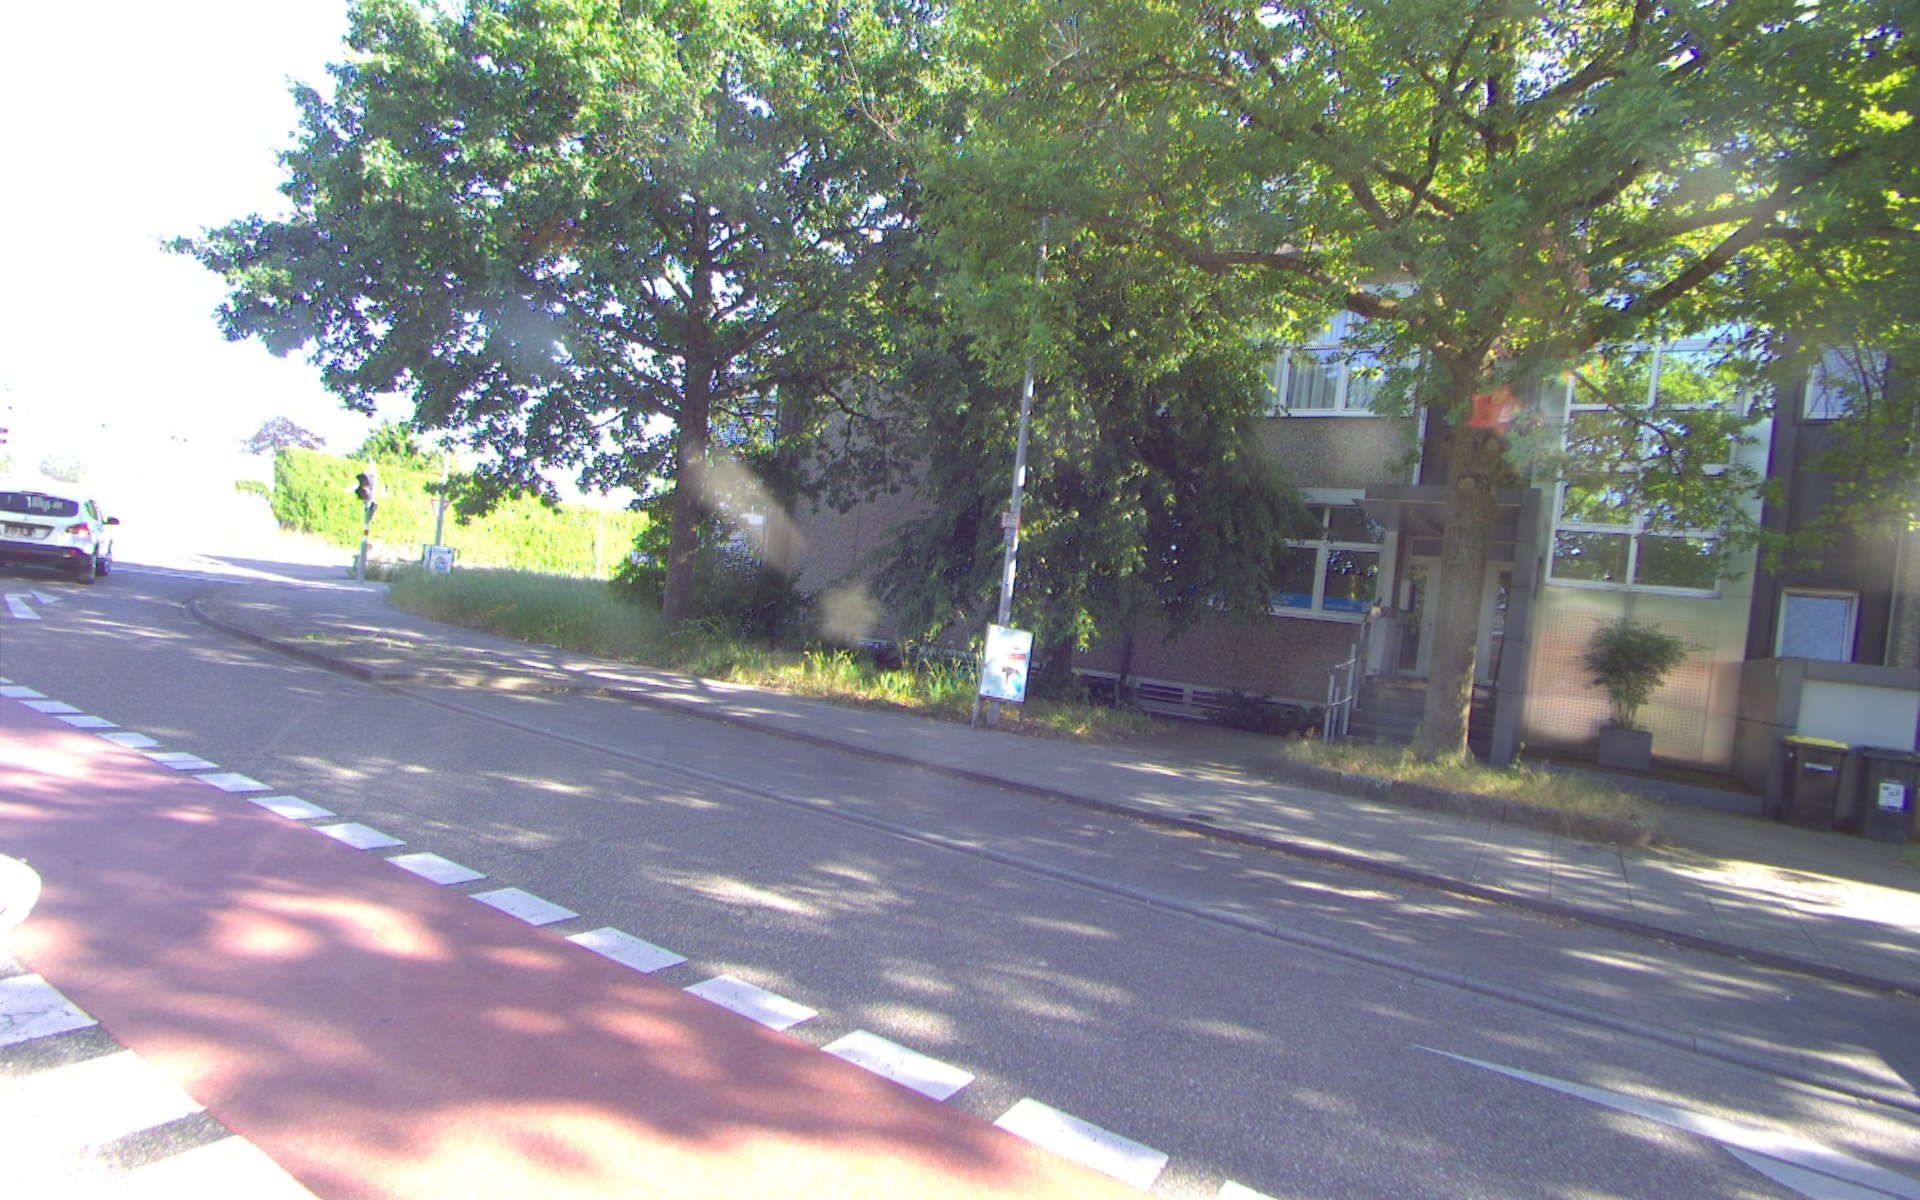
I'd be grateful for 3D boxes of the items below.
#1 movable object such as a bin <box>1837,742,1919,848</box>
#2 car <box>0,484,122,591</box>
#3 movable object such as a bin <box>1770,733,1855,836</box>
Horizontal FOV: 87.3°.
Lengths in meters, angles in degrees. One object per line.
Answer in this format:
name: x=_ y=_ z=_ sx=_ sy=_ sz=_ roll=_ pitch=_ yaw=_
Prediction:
movable object such as a bin: x=10.757 y=2.250 z=11.724 sx=0.605 sy=1.075 sz=0.634 roll=6 pitch=0 yaw=30
car: x=-17.022 y=-1.215 z=18.760 sx=1.708 sy=1.628 sz=4.026 roll=7 pitch=1 yaw=-36
movable object such as a bin: x=10.168 y=2.181 z=12.017 sx=0.575 sy=1.070 sz=0.625 roll=7 pitch=0 yaw=30
